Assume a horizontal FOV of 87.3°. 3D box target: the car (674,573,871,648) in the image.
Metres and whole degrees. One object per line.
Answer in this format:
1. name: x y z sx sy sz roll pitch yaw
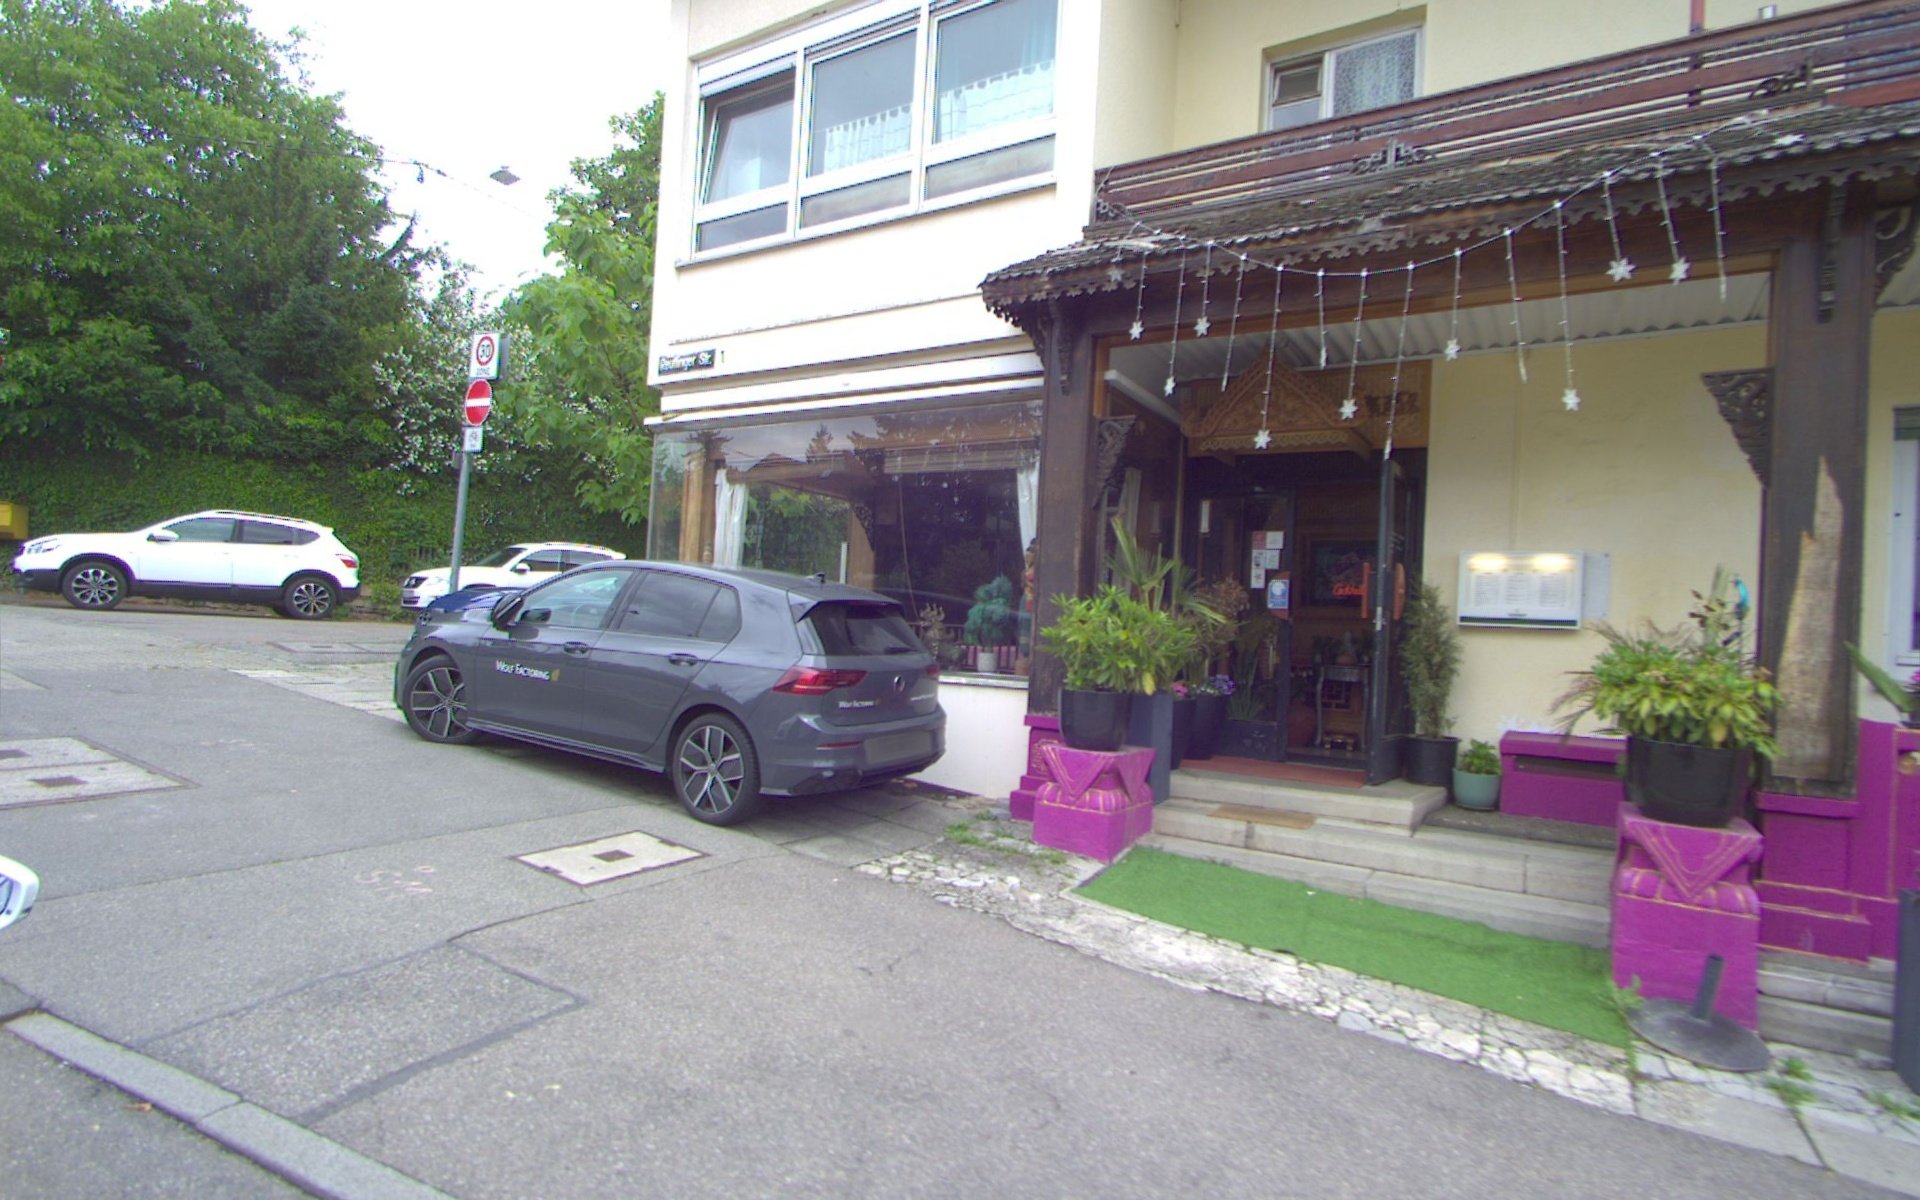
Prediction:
1. car: -4.315 0.314 23.708 1.974 1.462 4.277 -1 -4 39

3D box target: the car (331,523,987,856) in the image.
1. car: -2.198 0.419 7.088 4.310 1.492 1.850 6 2 28

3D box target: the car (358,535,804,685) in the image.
1. car: -4.119 0.205 11.634 1.809 1.343 4.493 5 0 38

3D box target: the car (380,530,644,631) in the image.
1. car: -8.366 -0.323 19.058 1.972 1.485 4.053 5 0 40

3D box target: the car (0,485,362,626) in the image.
1. car: -11.975 -0.577 15.624 4.226 1.612 1.965 6 -3 -44
